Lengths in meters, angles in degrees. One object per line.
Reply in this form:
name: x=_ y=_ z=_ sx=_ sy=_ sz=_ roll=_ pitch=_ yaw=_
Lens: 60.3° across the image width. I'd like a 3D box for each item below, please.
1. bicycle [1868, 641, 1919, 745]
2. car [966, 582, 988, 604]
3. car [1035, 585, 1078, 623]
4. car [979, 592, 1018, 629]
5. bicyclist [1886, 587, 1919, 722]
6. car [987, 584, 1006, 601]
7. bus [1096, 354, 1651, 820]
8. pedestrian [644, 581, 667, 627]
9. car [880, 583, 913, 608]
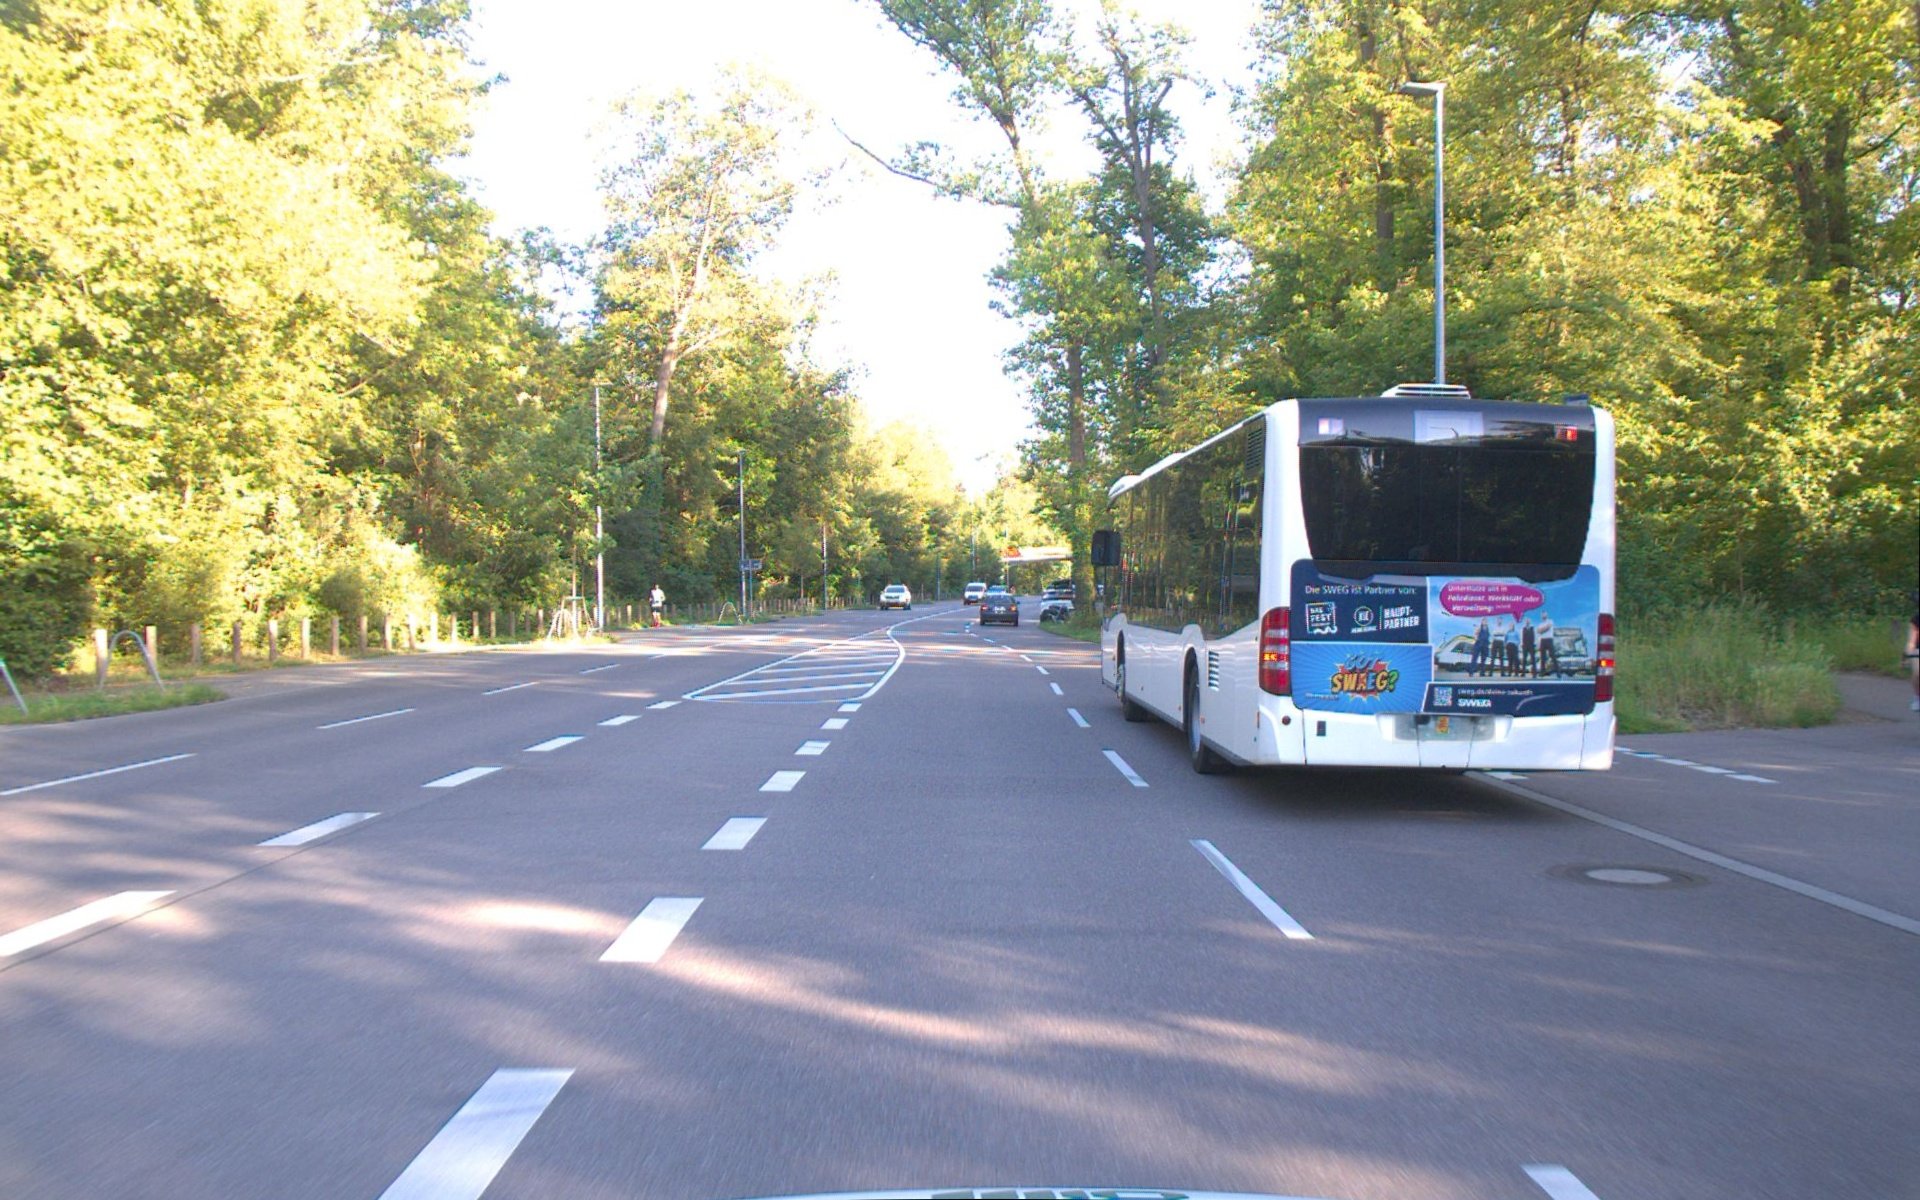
bicycle: x=10.271 y=0.972 z=17.664 sx=0.538 sy=0.984 sz=1.758 roll=0 pitch=1 yaw=13
car: x=1.386 y=-0.548 z=137.379 sx=1.825 sy=1.759 sz=4.000 roll=0 pitch=0 yaw=0
car: x=4.441 y=0.208 z=75.986 sx=1.597 sy=1.688 sz=4.135 roll=0 pitch=0 yaw=8
car: x=1.721 y=0.466 z=72.578 sx=1.597 sy=1.574 sz=4.133 roll=0 pitch=0 yaw=3
bicyclist: x=10.308 y=0.575 z=17.688 sx=0.469 sy=1.410 sz=0.879 roll=0 pitch=0 yaw=13
car: x=3.559 y=-0.681 z=161.819 sx=1.824 sy=1.592 sz=4.000 roll=-1 pitch=0 yaw=1
bus: x=3.263 y=-0.064 z=17.068 sx=2.635 sy=3.096 sz=12.039 roll=0 pitch=0 yaw=0
pedestrian: x=-12.113 y=0.149 z=65.824 sx=0.763 sy=1.844 sz=0.770 roll=0 pitch=0 yaw=-1
car: x=-4.203 y=-0.284 z=109.980 sx=1.824 sy=1.564 sz=4.133 roll=0 pitch=0 yaw=3
